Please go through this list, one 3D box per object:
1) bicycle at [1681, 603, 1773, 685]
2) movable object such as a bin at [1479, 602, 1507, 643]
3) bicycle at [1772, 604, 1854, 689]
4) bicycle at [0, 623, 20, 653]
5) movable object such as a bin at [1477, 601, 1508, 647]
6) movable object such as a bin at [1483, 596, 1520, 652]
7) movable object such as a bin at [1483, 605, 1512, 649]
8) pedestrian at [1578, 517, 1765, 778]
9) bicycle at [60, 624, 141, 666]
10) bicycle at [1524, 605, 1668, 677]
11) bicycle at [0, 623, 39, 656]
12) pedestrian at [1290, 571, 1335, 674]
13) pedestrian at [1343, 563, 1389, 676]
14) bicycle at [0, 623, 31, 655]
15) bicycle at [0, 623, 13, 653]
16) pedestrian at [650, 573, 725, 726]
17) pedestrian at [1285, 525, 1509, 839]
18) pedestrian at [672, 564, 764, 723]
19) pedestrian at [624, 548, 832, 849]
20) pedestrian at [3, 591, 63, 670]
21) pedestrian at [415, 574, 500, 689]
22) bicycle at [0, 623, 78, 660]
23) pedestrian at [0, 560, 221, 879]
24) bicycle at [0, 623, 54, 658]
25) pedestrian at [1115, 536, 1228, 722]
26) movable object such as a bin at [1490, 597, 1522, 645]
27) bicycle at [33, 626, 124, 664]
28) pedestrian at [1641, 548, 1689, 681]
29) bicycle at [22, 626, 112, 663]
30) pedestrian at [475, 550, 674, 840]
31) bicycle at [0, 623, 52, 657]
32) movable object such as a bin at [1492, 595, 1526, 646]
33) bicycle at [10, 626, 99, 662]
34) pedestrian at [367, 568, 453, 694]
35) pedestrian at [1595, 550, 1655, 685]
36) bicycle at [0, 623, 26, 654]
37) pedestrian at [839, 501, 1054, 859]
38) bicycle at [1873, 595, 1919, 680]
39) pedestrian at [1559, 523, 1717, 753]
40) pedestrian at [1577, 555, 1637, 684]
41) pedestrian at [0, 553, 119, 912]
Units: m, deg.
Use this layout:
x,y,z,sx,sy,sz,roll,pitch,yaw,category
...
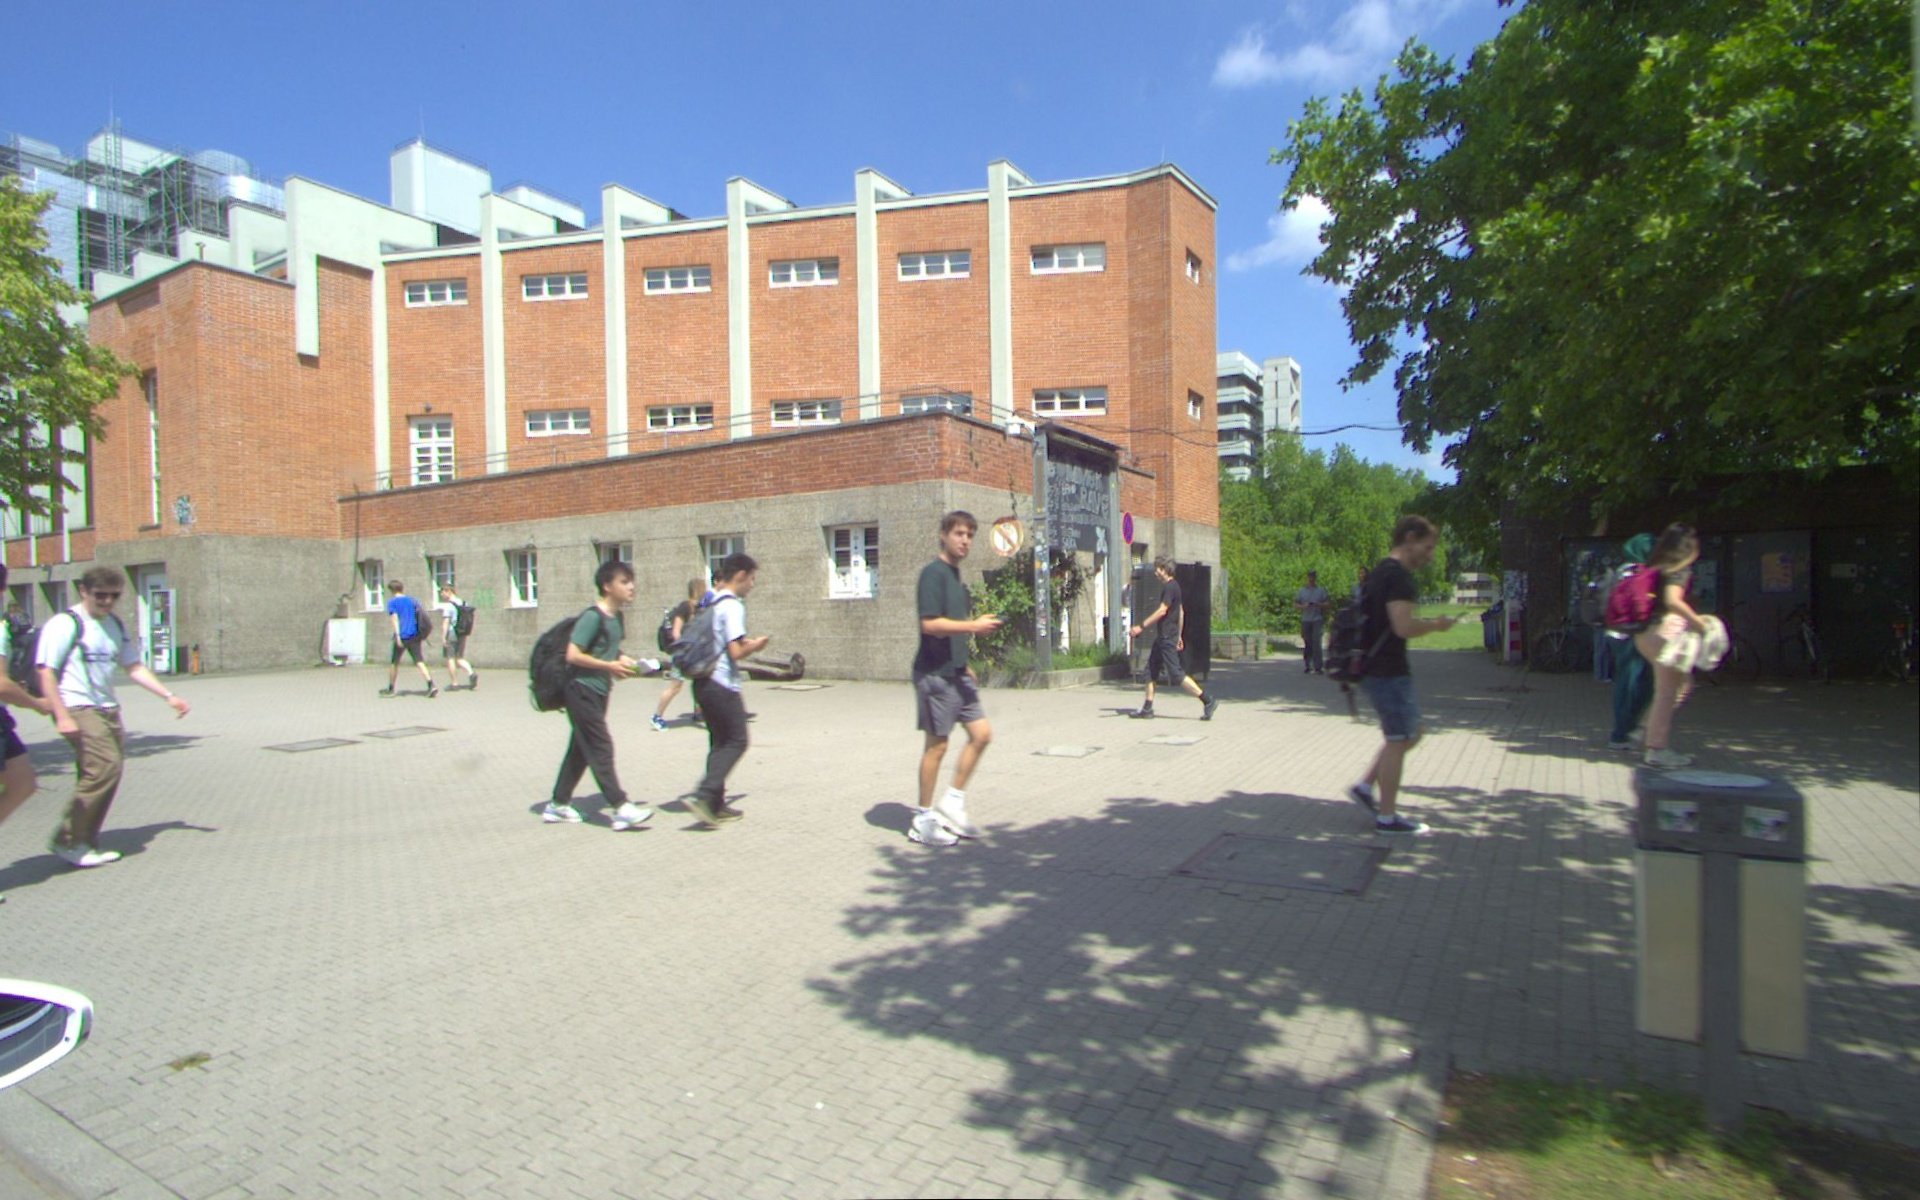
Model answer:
x,y,z,sx,sy,sz,roll,pitch,yaw,category
11.272,0.610,14.677,0.775,1.086,2.381,-1,0,44,bicycle
17.408,0.729,32.690,0.756,1.338,0.780,0,0,32,movable object such as a bin
11.994,0.614,14.133,0.773,1.086,2.386,-1,0,38,bicycle
-32.752,1.315,33.473,0.552,0.998,1.805,0,2,31,bicycle
15.867,0.713,29.833,0.756,1.338,0.780,0,0,32,movable object such as a bin
13.179,0.568,24.358,0.756,1.338,0.780,0,0,32,movable object such as a bin
16.511,0.822,30.753,0.756,1.338,0.780,0,0,32,movable object such as a bin
4.884,0.310,6.953,0.935,1.660,0.873,-3,1,32,pedestrian
-23.092,1.193,26.929,0.552,1.047,1.532,0,1,31,bicycle
10.579,0.668,16.719,1.997,1.155,0.572,-1,0,32,bicycle
-31.219,1.300,32.521,0.552,0.998,1.805,0,2,31,bicycle
6.340,0.385,18.000,0.719,1.763,0.833,0,4,22,pedestrian
7.097,0.328,17.512,0.719,1.908,0.833,0,1,22,pedestrian
-31.740,1.303,32.805,0.552,0.998,1.805,0,2,31,bicycle
-33.252,1.315,33.779,0.552,0.998,1.805,0,2,31,bicycle
-3.022,0.543,11.119,0.561,1.652,0.502,-2,0,21,pedestrian
2.426,0.414,5.644,0.815,1.617,0.849,-1,2,-11,pedestrian
-2.852,0.505,11.826,0.740,1.811,0.708,-2,0,21,pedestrian
-1.463,0.567,6.442,0.700,1.739,1.102,0,1,33,pedestrian
-22.825,0.735,24.659,1.100,1.885,0.788,0,1,32,pedestrian
-8.319,0.499,16.593,0.977,1.829,0.701,0,4,24,pedestrian
-27.863,1.245,30.167,0.552,0.998,1.805,0,2,31,bicycle
-5.126,0.660,5.995,0.893,1.763,0.676,-2,2,-20,pedestrian
-29.066,1.255,30.703,0.552,0.998,1.805,0,2,31,bicycle
2.280,0.297,10.720,1.058,1.893,0.761,-1,2,20,pedestrian
15.251,0.578,27.961,0.756,1.338,0.780,0,0,32,movable object such as a bin
-24.568,1.244,27.952,0.552,0.924,1.805,-1,1,31,bicycle
10.300,0.210,14.628,0.523,1.908,0.445,0,0,42,pedestrian
-25.262,1.251,28.366,0.552,0.924,1.805,-1,1,31,bicycle
-2.442,0.571,6.451,0.974,1.743,0.703,-1,2,-5,pedestrian
-29.531,1.256,31.143,0.552,0.998,1.805,0,2,31,bicycle
14.601,0.543,26.641,0.756,1.338,0.780,0,0,32,movable object such as a bin
-26.399,1.270,29.229,0.552,0.924,1.805,-1,2,31,bicycle
-8.609,0.467,15.682,0.977,1.917,0.701,0,1,24,pedestrian
9.644,0.254,14.529,0.521,1.908,0.556,0,0,-28,pedestrian
-32.223,1.306,33.125,0.552,0.998,1.805,0,2,31,bicycle
-0.038,0.433,5.771,1.095,1.884,0.854,-1,1,8,pedestrian
13.095,0.499,13.751,0.775,1.085,2.383,-1,-2,43,bicycle
5.247,0.289,7.818,0.935,1.659,0.874,-2,0,31,pedestrian
9.814,0.287,15.201,0.548,1.908,0.529,-2,1,4,pedestrian
-5.143,0.667,5.155,0.966,1.763,0.699,-2,2,-18,pedestrian
